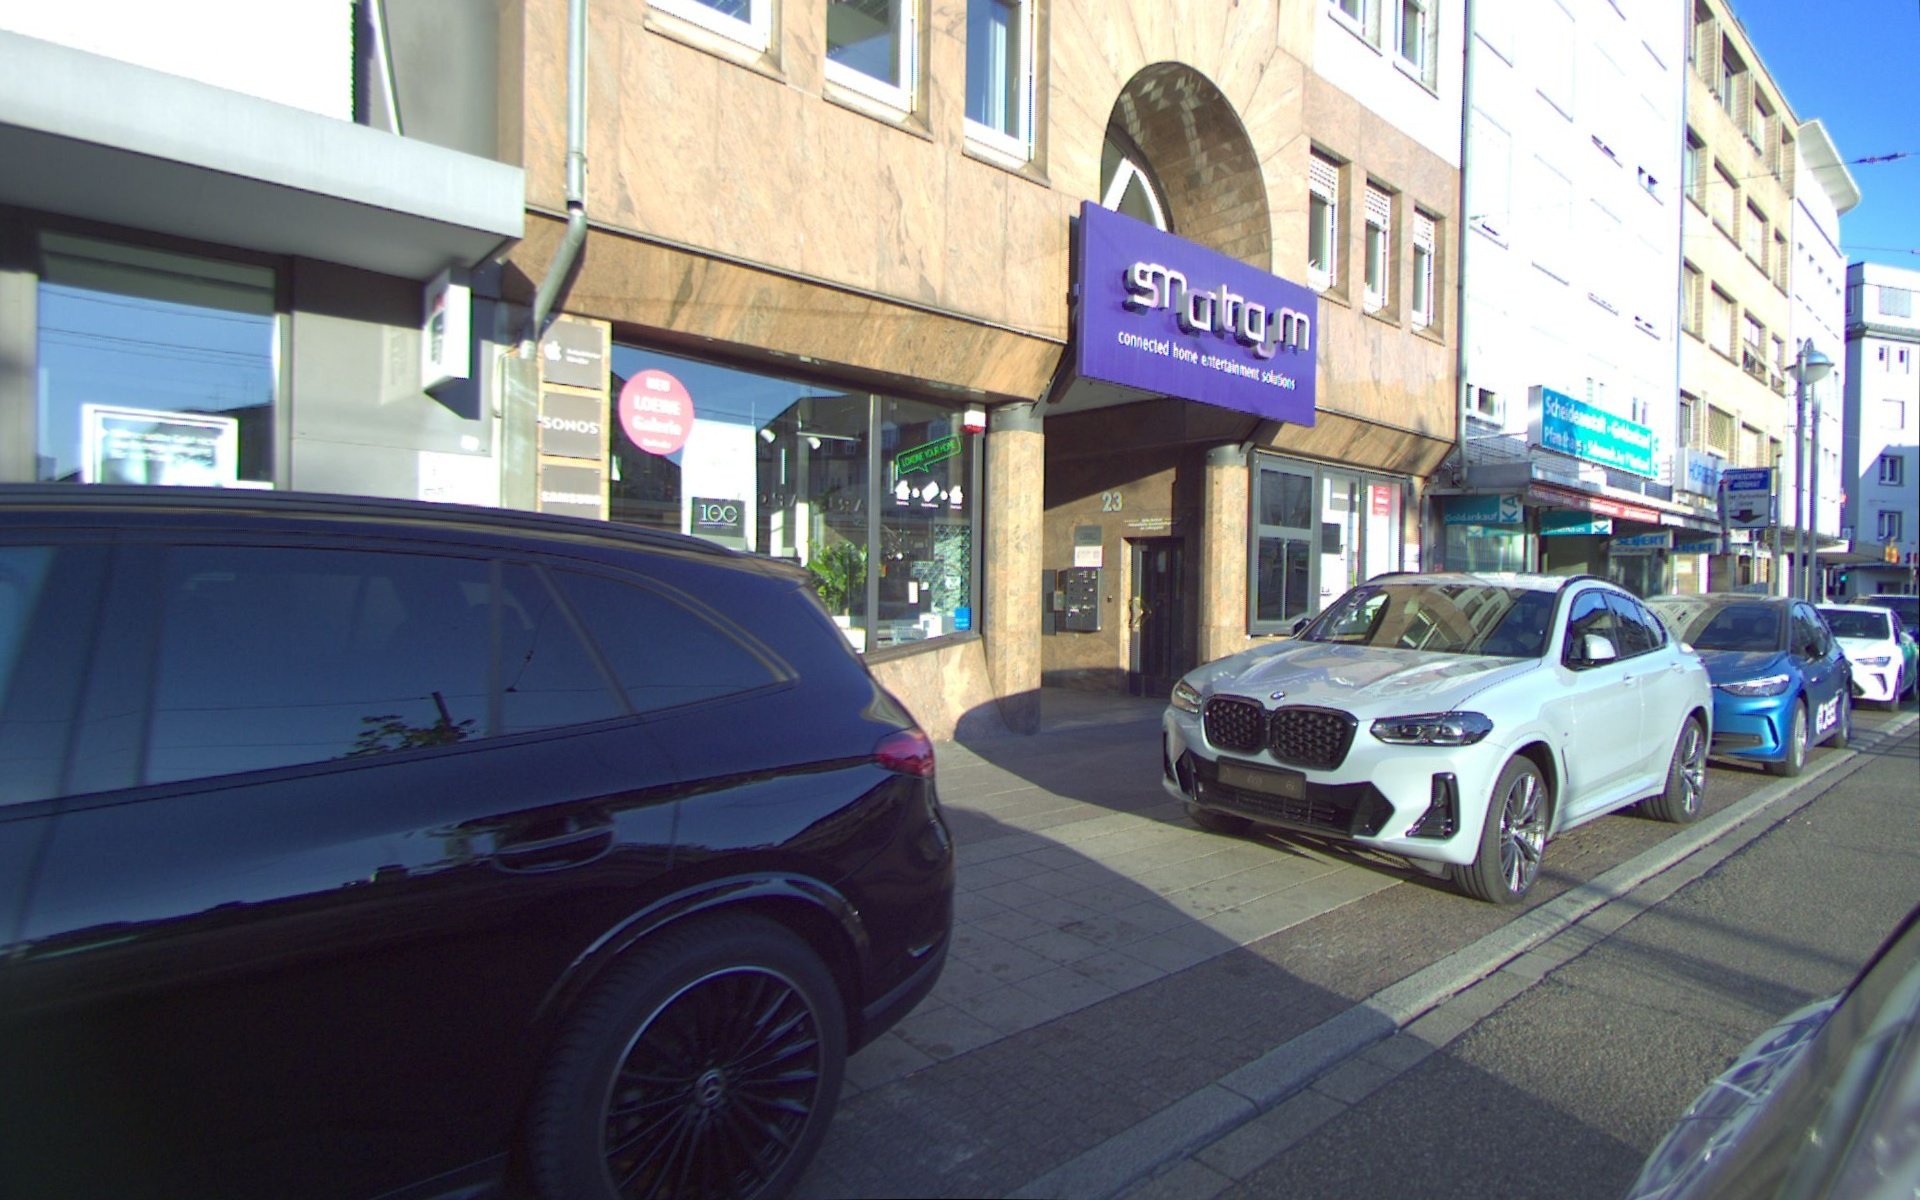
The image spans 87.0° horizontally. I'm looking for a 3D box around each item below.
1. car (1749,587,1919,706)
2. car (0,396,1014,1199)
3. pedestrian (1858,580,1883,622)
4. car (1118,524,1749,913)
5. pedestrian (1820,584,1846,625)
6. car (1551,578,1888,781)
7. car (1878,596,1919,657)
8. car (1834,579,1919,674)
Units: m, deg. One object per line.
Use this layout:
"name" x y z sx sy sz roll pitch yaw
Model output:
"car" 13.437 0.582 15.285 4.082 1.453 1.733 -2 3 -43
"car" -2.136 0.465 1.927 4.498 1.558 1.779 2 0 -41
"pedestrian" 39.003 0.029 43.362 0.747 1.795 0.578 1 1 42
"car" 3.229 0.463 6.372 4.639 1.605 1.820 0 1 -40
"pedestrian" 38.278 0.177 44.381 0.627 1.795 0.749 0 0 -38
"car" 7.778 0.590 10.160 4.753 1.571 1.812 0 1 -42
"car" 22.877 0.598 23.493 3.990 1.298 1.678 -1 2 -38
"car" 18.069 0.449 19.143 4.213 1.625 1.768 0 1 -42
